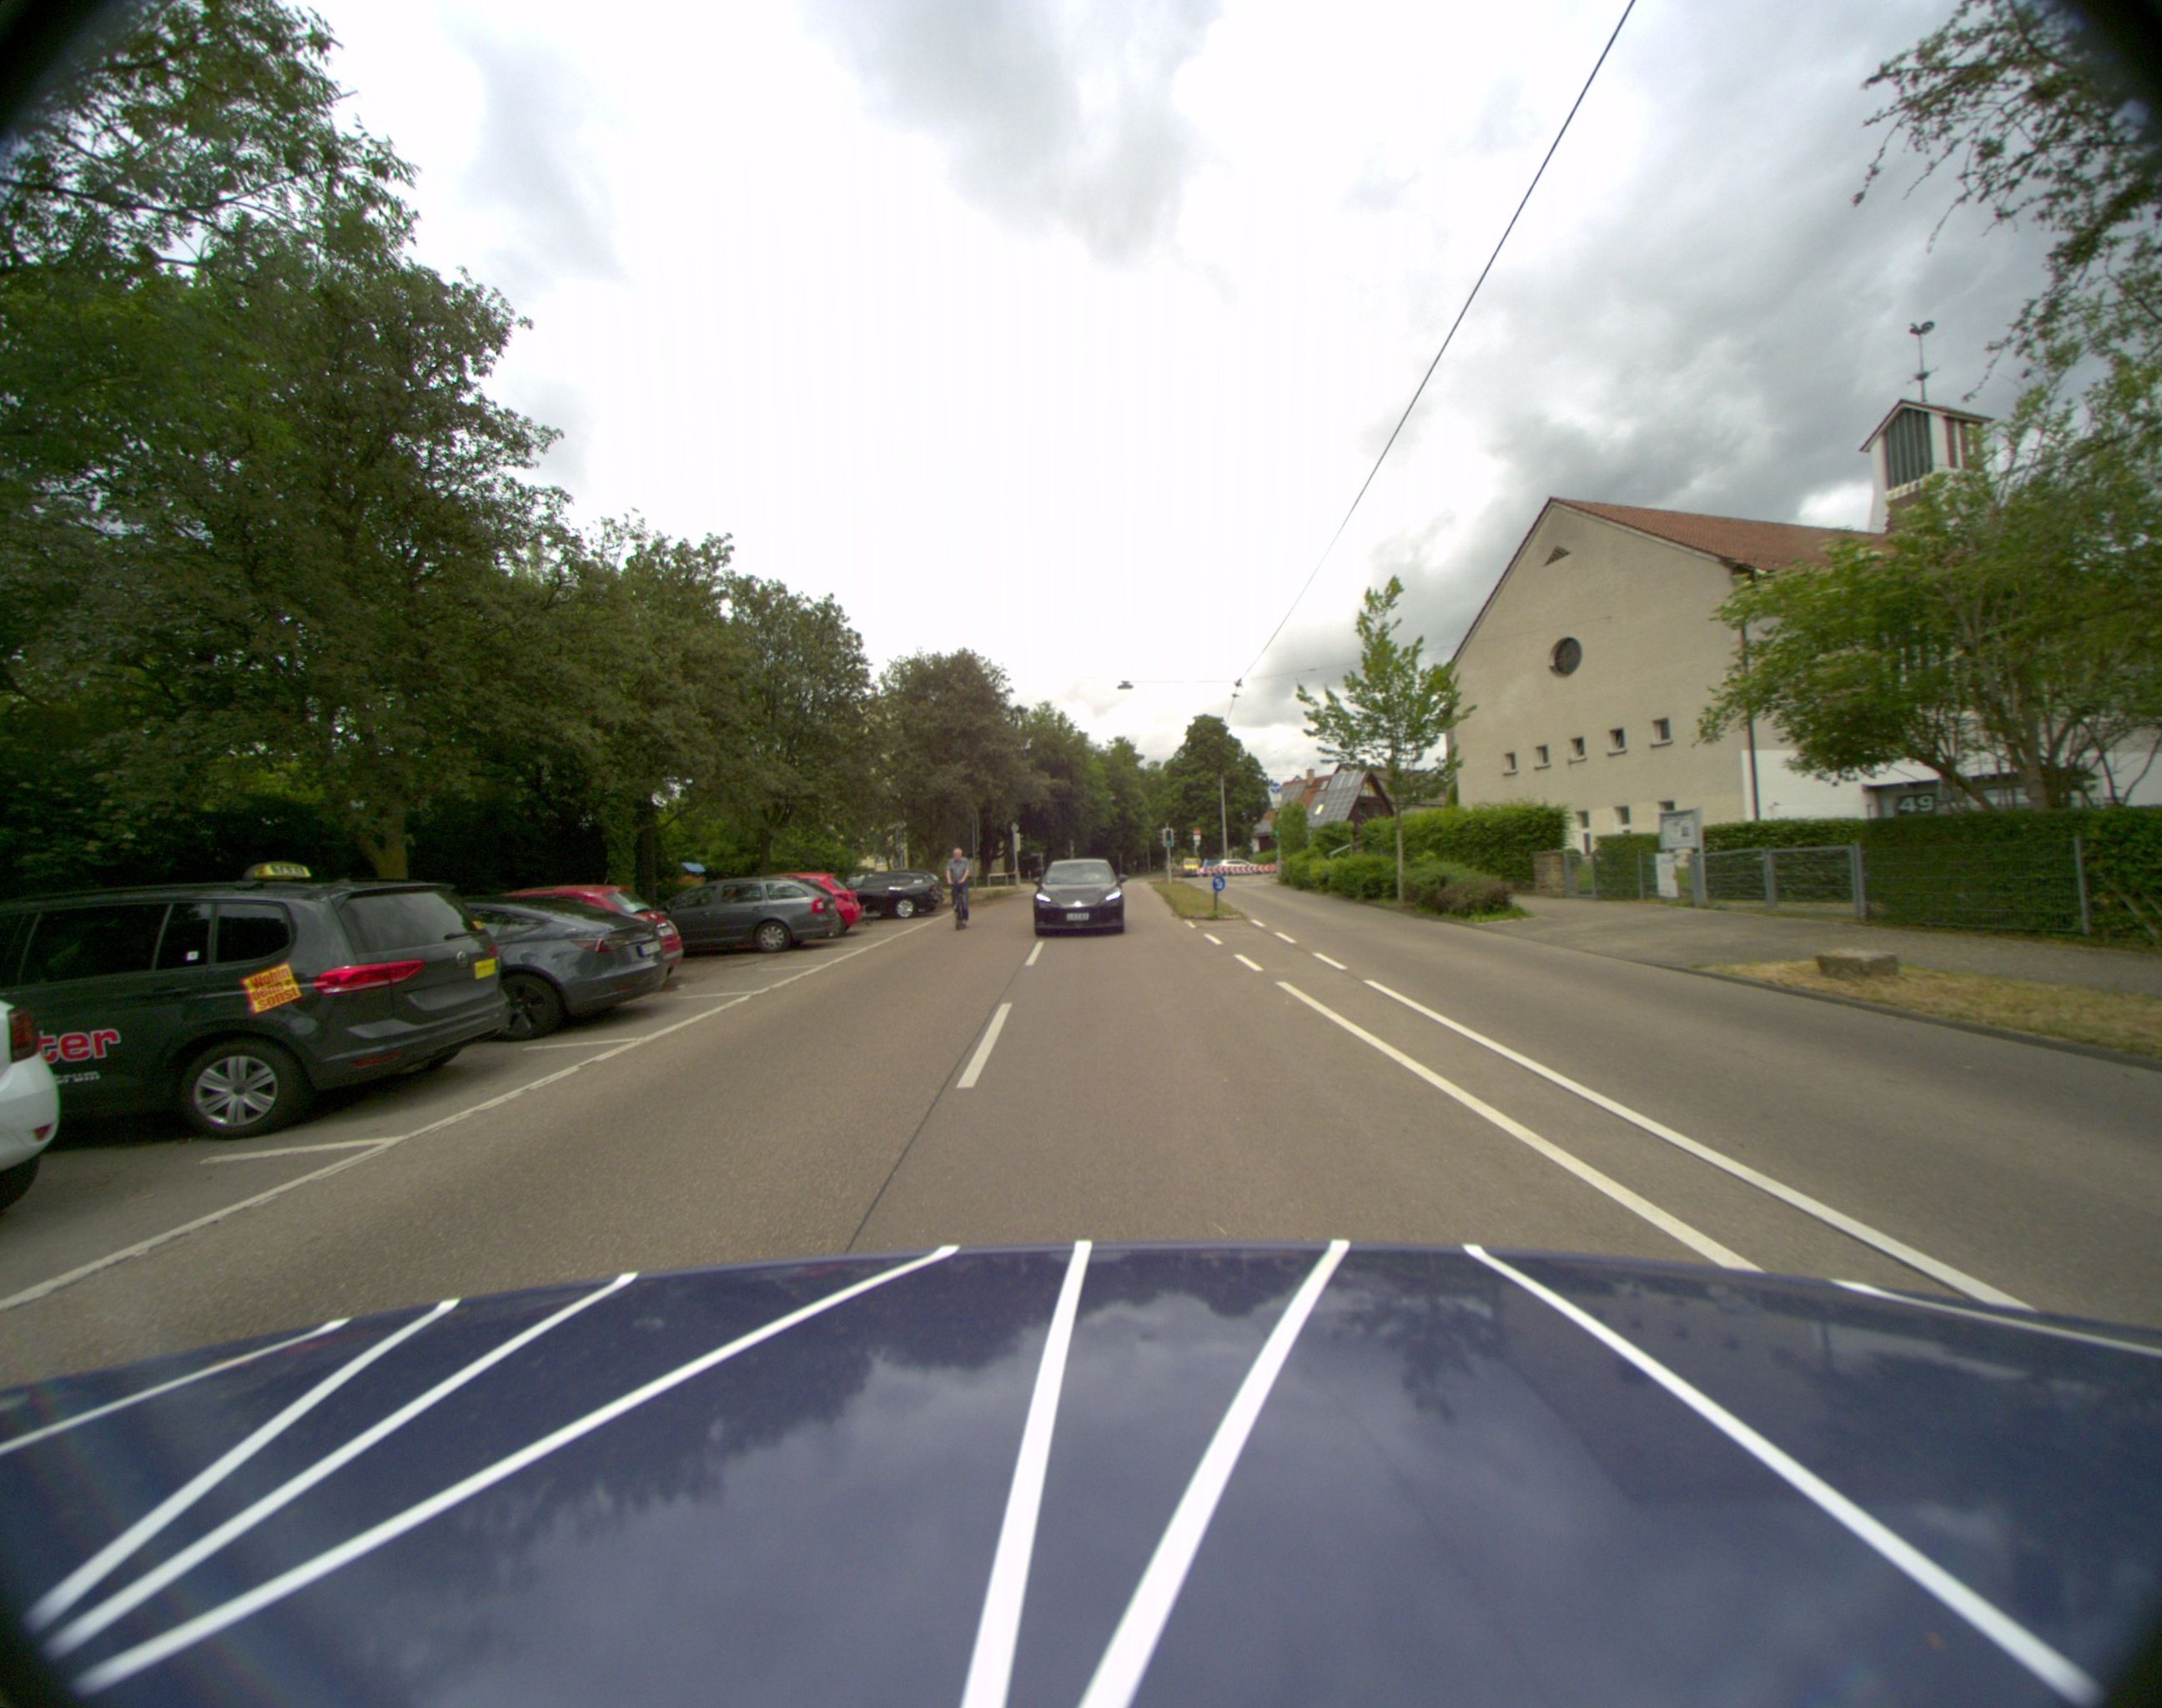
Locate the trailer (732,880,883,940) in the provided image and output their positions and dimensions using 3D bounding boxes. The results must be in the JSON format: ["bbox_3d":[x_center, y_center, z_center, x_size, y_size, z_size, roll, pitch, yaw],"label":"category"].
[{"bbox_3d":[-7.093,1.425,19.973,3.413,1.259,1.615,-3,1,-9],"label":"trailer"}]

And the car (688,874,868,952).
[{"bbox_3d":[-6.851,1.294,17.523,3.536,1.467,1.591,-3,0,-11],"label":"car"}]

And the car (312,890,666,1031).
[{"bbox_3d":[-7.761,1.340,10.278,3.336,1.455,1.634,-3,0,-8],"label":"car"}]

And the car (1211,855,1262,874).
[{"bbox_3d":[13.476,0.932,65.976,3.904,1.463,1.845,-2,-2,-7],"label":"car"}]

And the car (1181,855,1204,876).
[{"bbox_3d":[11.210,1.173,76.391,1.920,1.977,4.803,-2,-1,5],"label":"car"}]

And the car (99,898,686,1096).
[{"bbox_3d":[-6.670,1.326,7.875,4.173,1.398,1.696,-3,1,-10],"label":"car"}]

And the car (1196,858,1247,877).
[{"bbox_3d":[12.629,1.227,68.347,4.175,1.537,1.846,-2,-2,0],"label":"car"}]

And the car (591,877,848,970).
[{"bbox_3d":[-6.973,1.310,15.049,4.233,1.455,1.634,-3,0,-8],"label":"car"}]

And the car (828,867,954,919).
[{"bbox_3d":[-6.287,1.271,25.415,3.725,1.467,1.576,-3,-1,-2],"label":"car"}]

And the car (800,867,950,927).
[{"bbox_3d":[-6.072,1.256,22.779,4.149,1.467,1.575,-3,0,-11],"label":"car"}]

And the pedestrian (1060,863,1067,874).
[{"bbox_3d":[-2.221,1.926,98.197,0.688,1.373,0.606,-2,0,11],"label":"pedestrian"}]

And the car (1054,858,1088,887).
[{"bbox_3d":[-0.538,1.045,44.021,1.814,1.520,4.000,-3,0,1],"label":"car"}]

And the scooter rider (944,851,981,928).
[{"bbox_3d":[-2.790,0.815,17.942,0.683,1.720,1.196,-3,0,-4],"label":"scooter rider"}]

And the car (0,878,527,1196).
[{"bbox_3d":[-6.576,1.160,5.265,3.999,1.715,1.679,-3,1,-11],"label":"car"}]

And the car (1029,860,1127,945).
[{"bbox_3d":[0.064,0.934,16.591,1.803,1.541,4.300,-2,0,3],"label":"car"}]

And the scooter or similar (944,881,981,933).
[{"bbox_3d":[-2.775,1.226,17.953,0.683,1.132,1.459,-3,0,-4],"label":"scooter or similar"}]

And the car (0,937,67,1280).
[{"bbox_3d":[-6.782,1.258,2.729,3.831,1.520,1.605,-3,1,-3],"label":"car"}]
